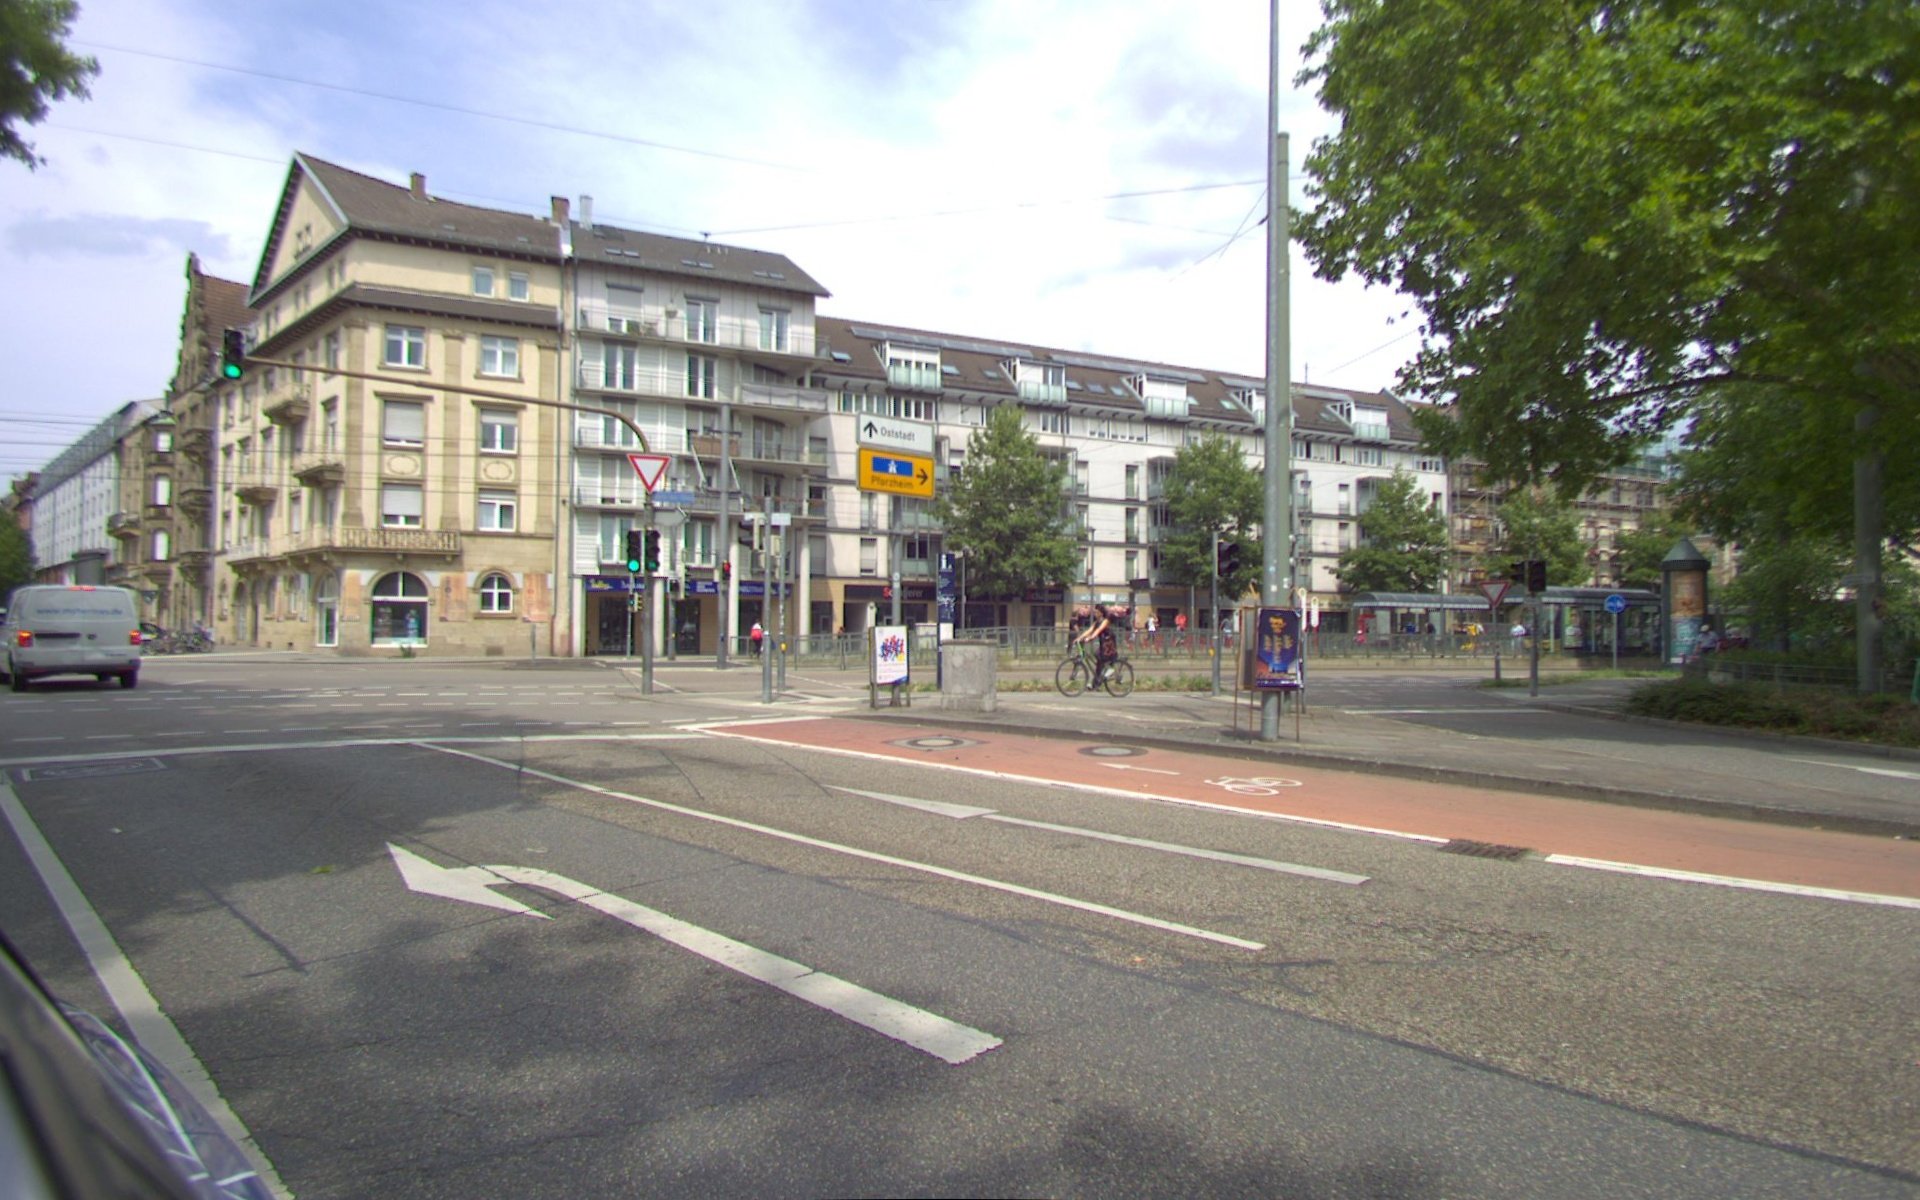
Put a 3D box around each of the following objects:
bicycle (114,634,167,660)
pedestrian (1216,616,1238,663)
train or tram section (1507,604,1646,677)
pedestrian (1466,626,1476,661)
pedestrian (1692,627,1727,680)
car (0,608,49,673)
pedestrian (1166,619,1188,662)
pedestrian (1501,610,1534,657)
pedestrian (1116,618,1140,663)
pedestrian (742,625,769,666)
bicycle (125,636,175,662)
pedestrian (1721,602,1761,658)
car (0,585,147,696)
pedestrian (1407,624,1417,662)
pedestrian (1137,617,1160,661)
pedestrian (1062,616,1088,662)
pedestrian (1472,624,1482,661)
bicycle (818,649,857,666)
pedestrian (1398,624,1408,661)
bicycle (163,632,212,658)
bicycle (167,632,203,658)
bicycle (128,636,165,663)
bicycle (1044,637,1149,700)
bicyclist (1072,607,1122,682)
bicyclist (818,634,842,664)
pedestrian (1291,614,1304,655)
[{"bbox_3d":[-37.812,2.167,46.720,1.844,1.201,0.457,1,-3,-29],"label":"bicycle"},{"bbox_3d":[13.203,1.960,50.086,0.744,2.267,0.763,1,-3,-24],"label":"pedestrian"},{"bbox_3d":[30.923,2.073,50.699,7.386,3.340,2.374,3,-4,-26],"label":"train or tram section"},{"bbox_3d":[27.632,2.359,54.702,0.307,1.898,0.326,2,-3,-34],"label":"pedestrian"},{"bbox_3d":[23.244,1.659,31.385,0.497,1.636,0.698,1,-3,-27],"label":"pedestrian"},{"bbox_3d":[-26.128,1.074,27.319,4.426,1.660,1.803,-2,-2,42],"label":"car"},{"bbox_3d":[10.300,1.922,48.047,0.744,2.029,0.763,1,-3,-24],"label":"pedestrian"},{"bbox_3d":[24.320,1.451,44.148,0.858,2.029,0.855,1,-3,-25],"label":"pedestrian"},{"bbox_3d":[7.604,1.825,45.861,0.744,2.029,0.763,1,-3,-24],"label":"pedestrian"},{"bbox_3d":[-7.945,1.755,39.292,0.824,1.564,0.870,1,-3,-25],"label":"pedestrian"},{"bbox_3d":[-38.261,2.289,47.829,0.397,1.201,1.799,-2,-2,38],"label":"bicycle"},{"bbox_3d":[23.588,0.913,30.584,0.673,1.648,0.698,1,-3,-27],"label":"pedestrian"},{"bbox_3d":[-17.962,0.780,20.183,4.945,1.951,1.903,-2,-2,42],"label":"car"},{"bbox_3d":[23.997,2.279,53.723,0.307,1.969,0.326,2,-3,-34],"label":"pedestrian"},{"bbox_3d":[8.780,1.796,47.105,0.744,2.029,0.763,1,-3,-24],"label":"pedestrian"},{"bbox_3d":[3.973,1.346,34.982,0.588,1.564,0.672,2,-2,-27],"label":"pedestrian"},{"bbox_3d":[27.781,2.276,54.404,0.307,1.969,0.326,2,-3,-34],"label":"pedestrian"},{"bbox_3d":[-5.997,2.820,49.491,1.760,0.822,0.654,1,-3,-24],"label":"bicycle"},{"bbox_3d":[23.689,2.281,54.114,0.307,1.969,0.326,2,-3,-34],"label":"pedestrian"},{"bbox_3d":[-37.046,2.144,48.550,0.397,1.201,1.807,-3,-2,41],"label":"bicycle"},{"bbox_3d":[-37.787,2.192,49.371,0.397,1.201,1.330,-2,0,35],"label":"bicycle"},{"bbox_3d":[-38.689,2.337,48.156,0.397,1.201,1.328,-2,-1,38],"label":"bicycle"},{"bbox_3d":[2.547,1.284,18.780,1.937,1.103,0.629,4,-4,-30],"label":"bicycle"},{"bbox_3d":[2.547,0.830,18.815,0.739,1.352,0.493,3,-4,-28],"label":"bicyclist"},{"bbox_3d":[-6.344,2.368,49.354,0.983,1.455,0.643,1,-3,-24],"label":"bicyclist"},{"bbox_3d":[17.051,1.749,51.163,0.363,2.029,0.503,1,-3,-25],"label":"pedestrian"}]
